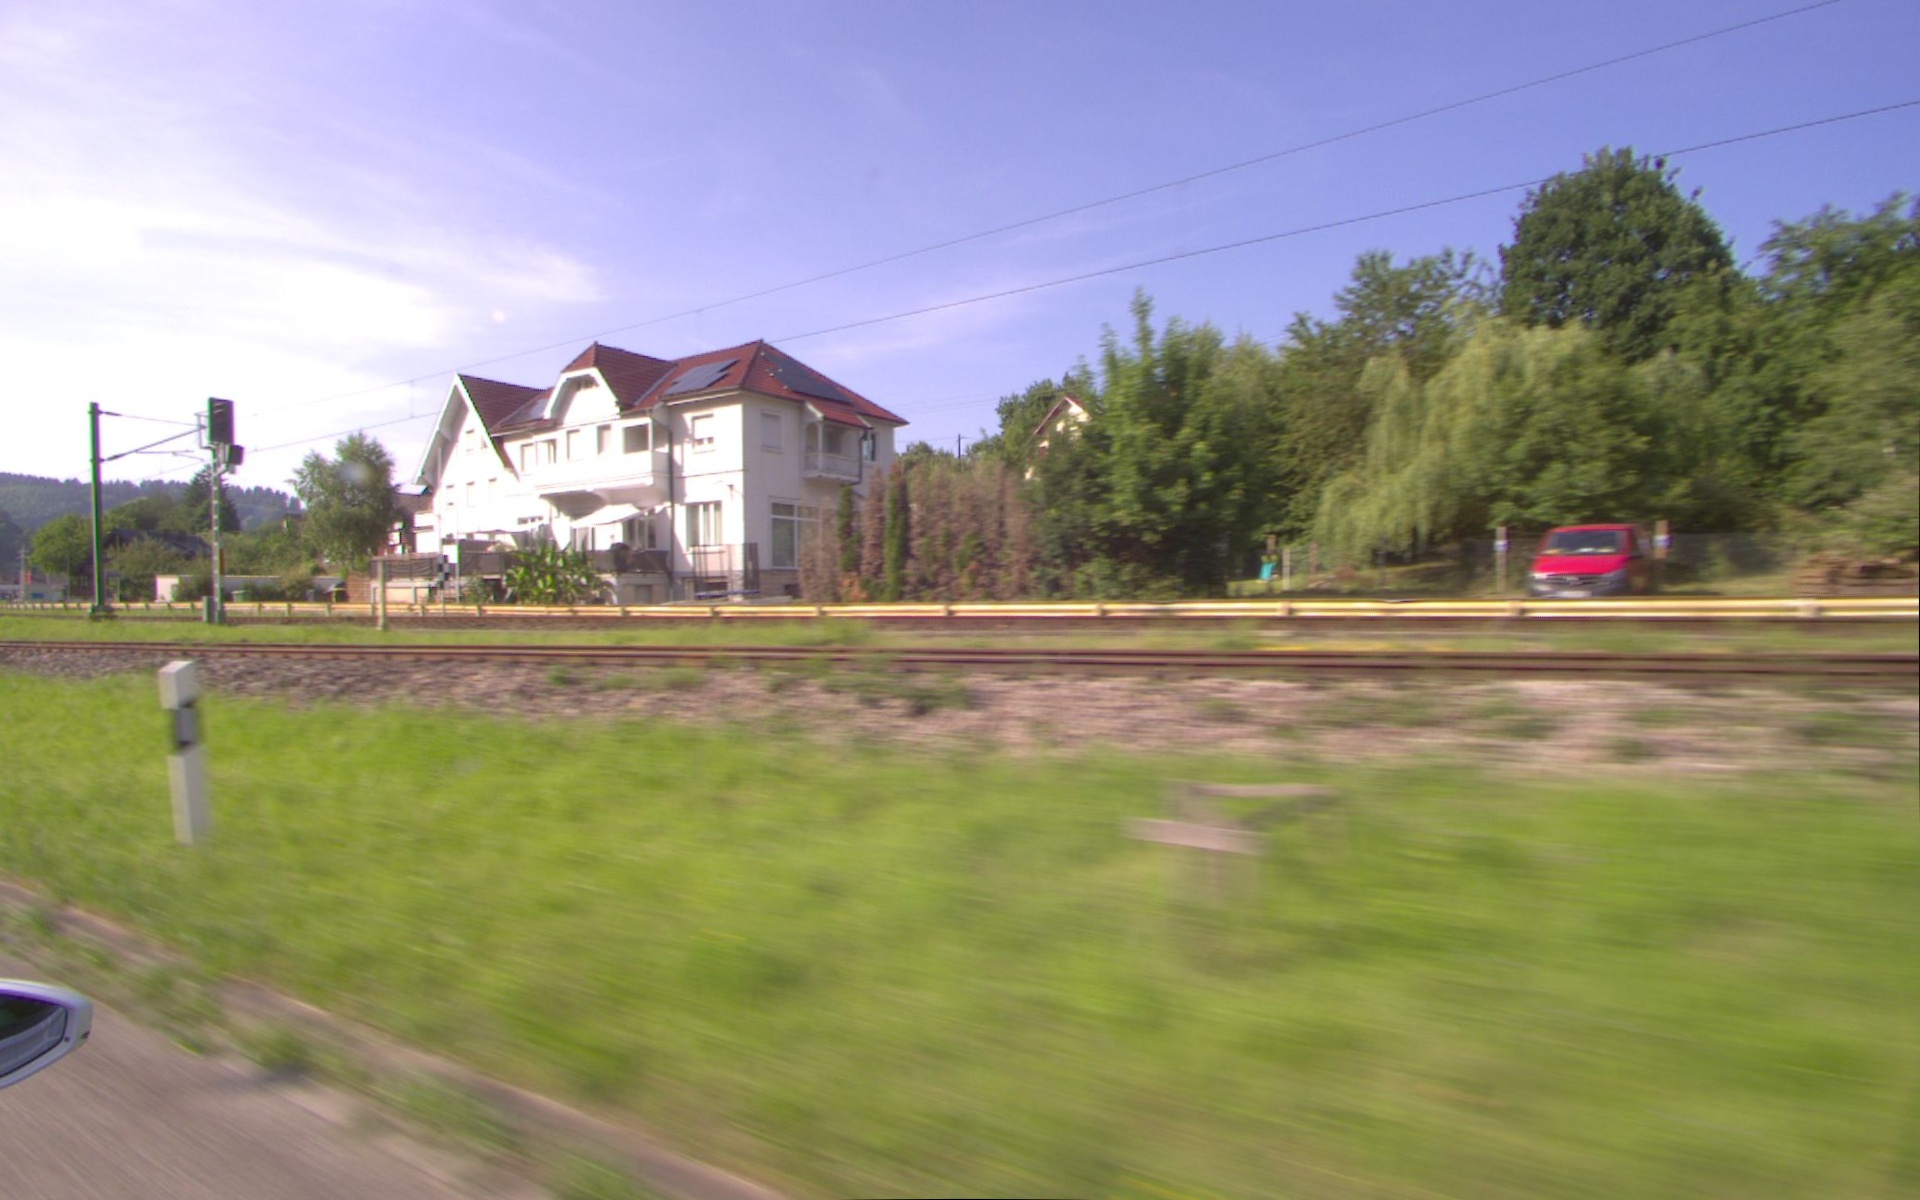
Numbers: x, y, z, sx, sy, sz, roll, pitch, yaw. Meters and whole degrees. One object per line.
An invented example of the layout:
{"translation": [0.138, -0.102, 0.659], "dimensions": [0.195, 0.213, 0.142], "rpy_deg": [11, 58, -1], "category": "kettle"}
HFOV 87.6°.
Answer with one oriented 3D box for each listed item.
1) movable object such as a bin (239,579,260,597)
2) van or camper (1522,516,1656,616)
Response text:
{"translation": [-43.685, -0.749, 61.558], "dimensions": [0.901, 1.064, 0.804], "rpy_deg": [1, 0, 40], "category": "movable object such as a bin"}
{"translation": [14.115, -0.761, 22.325], "dimensions": [2.093, 1.955, 5.395], "rpy_deg": [0, 2, 37], "category": "van or camper"}
